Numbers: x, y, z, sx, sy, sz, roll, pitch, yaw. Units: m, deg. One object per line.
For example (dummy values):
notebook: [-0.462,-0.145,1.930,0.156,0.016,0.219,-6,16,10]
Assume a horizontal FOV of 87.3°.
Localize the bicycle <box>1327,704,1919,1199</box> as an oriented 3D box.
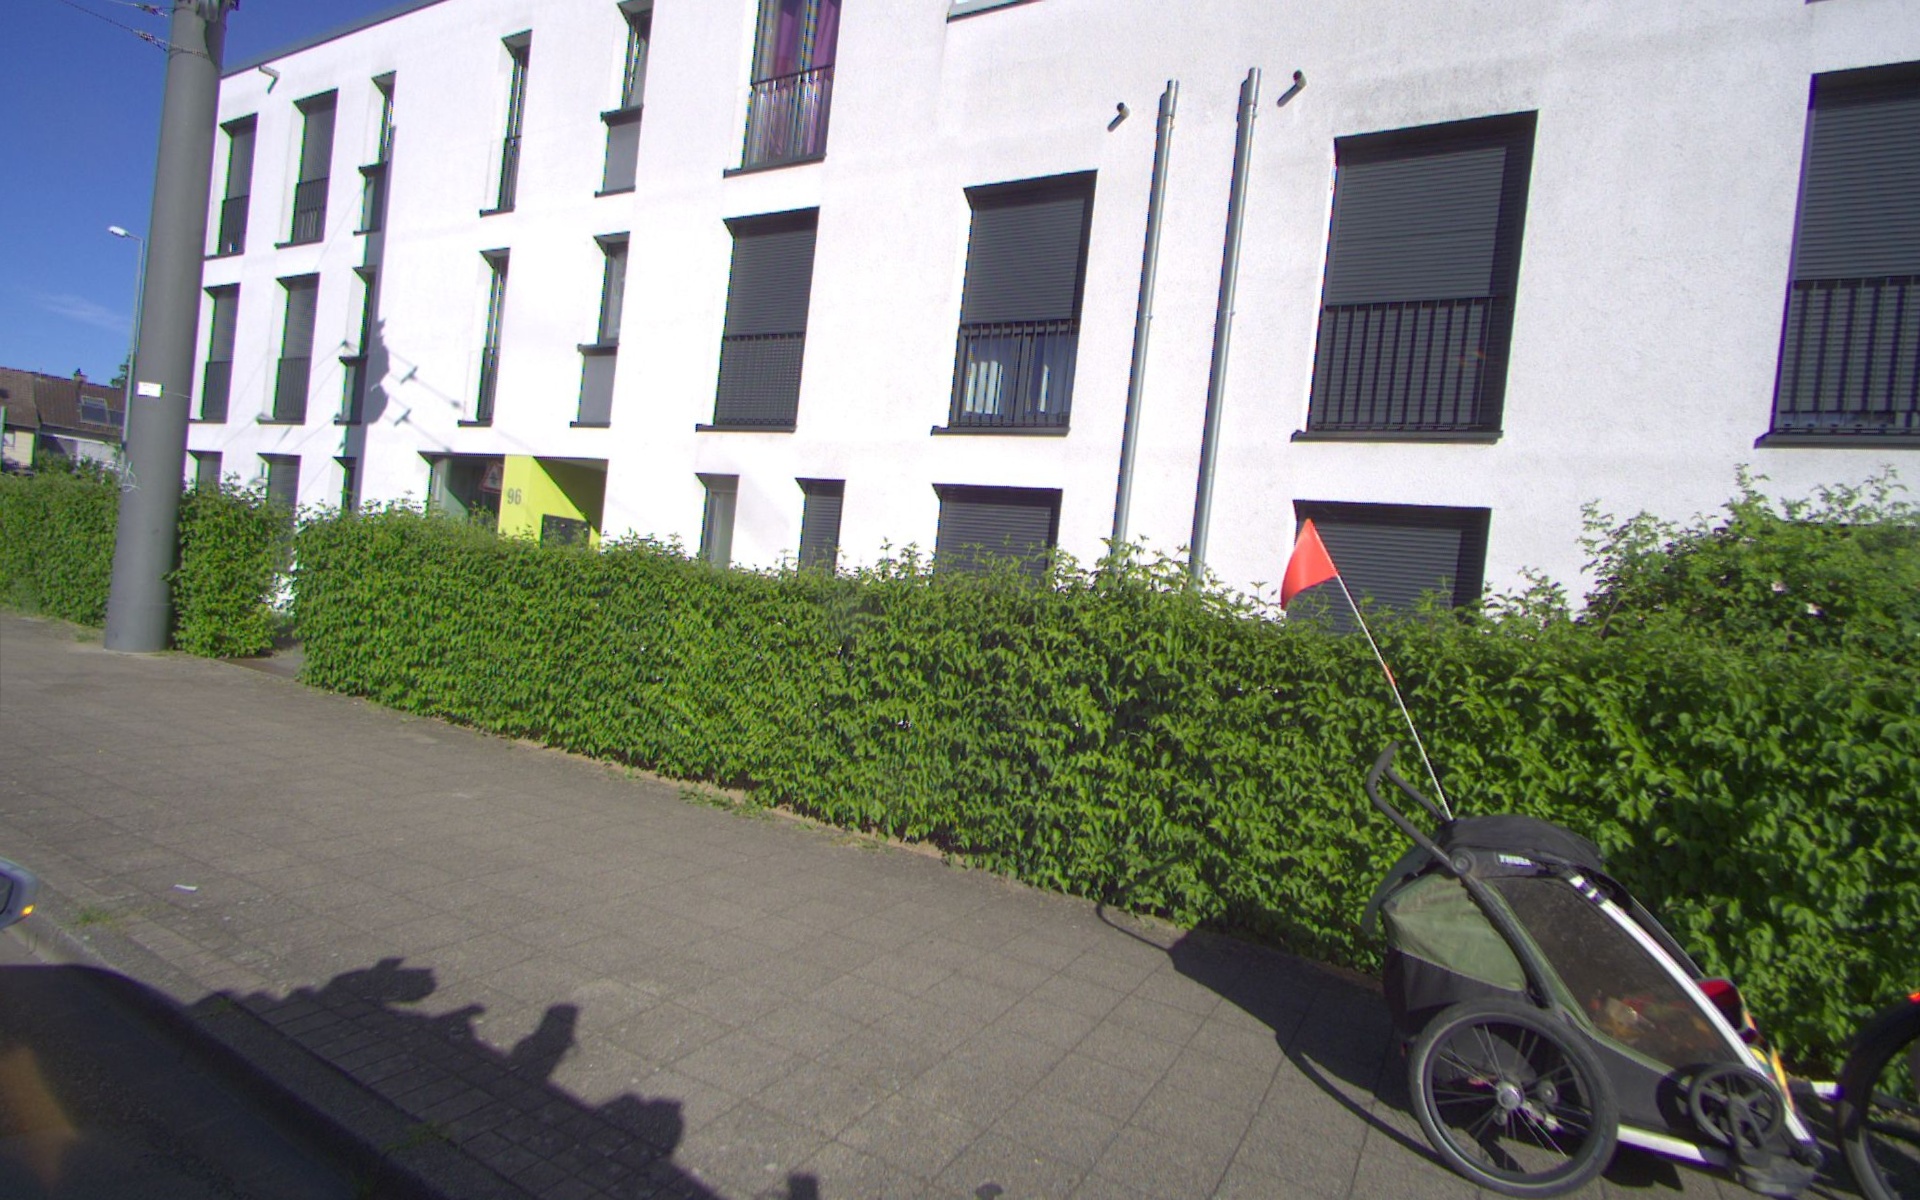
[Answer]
bicycle: [2.605,1.075,2.355,3.072,1.188,0.930,6,1,30]
